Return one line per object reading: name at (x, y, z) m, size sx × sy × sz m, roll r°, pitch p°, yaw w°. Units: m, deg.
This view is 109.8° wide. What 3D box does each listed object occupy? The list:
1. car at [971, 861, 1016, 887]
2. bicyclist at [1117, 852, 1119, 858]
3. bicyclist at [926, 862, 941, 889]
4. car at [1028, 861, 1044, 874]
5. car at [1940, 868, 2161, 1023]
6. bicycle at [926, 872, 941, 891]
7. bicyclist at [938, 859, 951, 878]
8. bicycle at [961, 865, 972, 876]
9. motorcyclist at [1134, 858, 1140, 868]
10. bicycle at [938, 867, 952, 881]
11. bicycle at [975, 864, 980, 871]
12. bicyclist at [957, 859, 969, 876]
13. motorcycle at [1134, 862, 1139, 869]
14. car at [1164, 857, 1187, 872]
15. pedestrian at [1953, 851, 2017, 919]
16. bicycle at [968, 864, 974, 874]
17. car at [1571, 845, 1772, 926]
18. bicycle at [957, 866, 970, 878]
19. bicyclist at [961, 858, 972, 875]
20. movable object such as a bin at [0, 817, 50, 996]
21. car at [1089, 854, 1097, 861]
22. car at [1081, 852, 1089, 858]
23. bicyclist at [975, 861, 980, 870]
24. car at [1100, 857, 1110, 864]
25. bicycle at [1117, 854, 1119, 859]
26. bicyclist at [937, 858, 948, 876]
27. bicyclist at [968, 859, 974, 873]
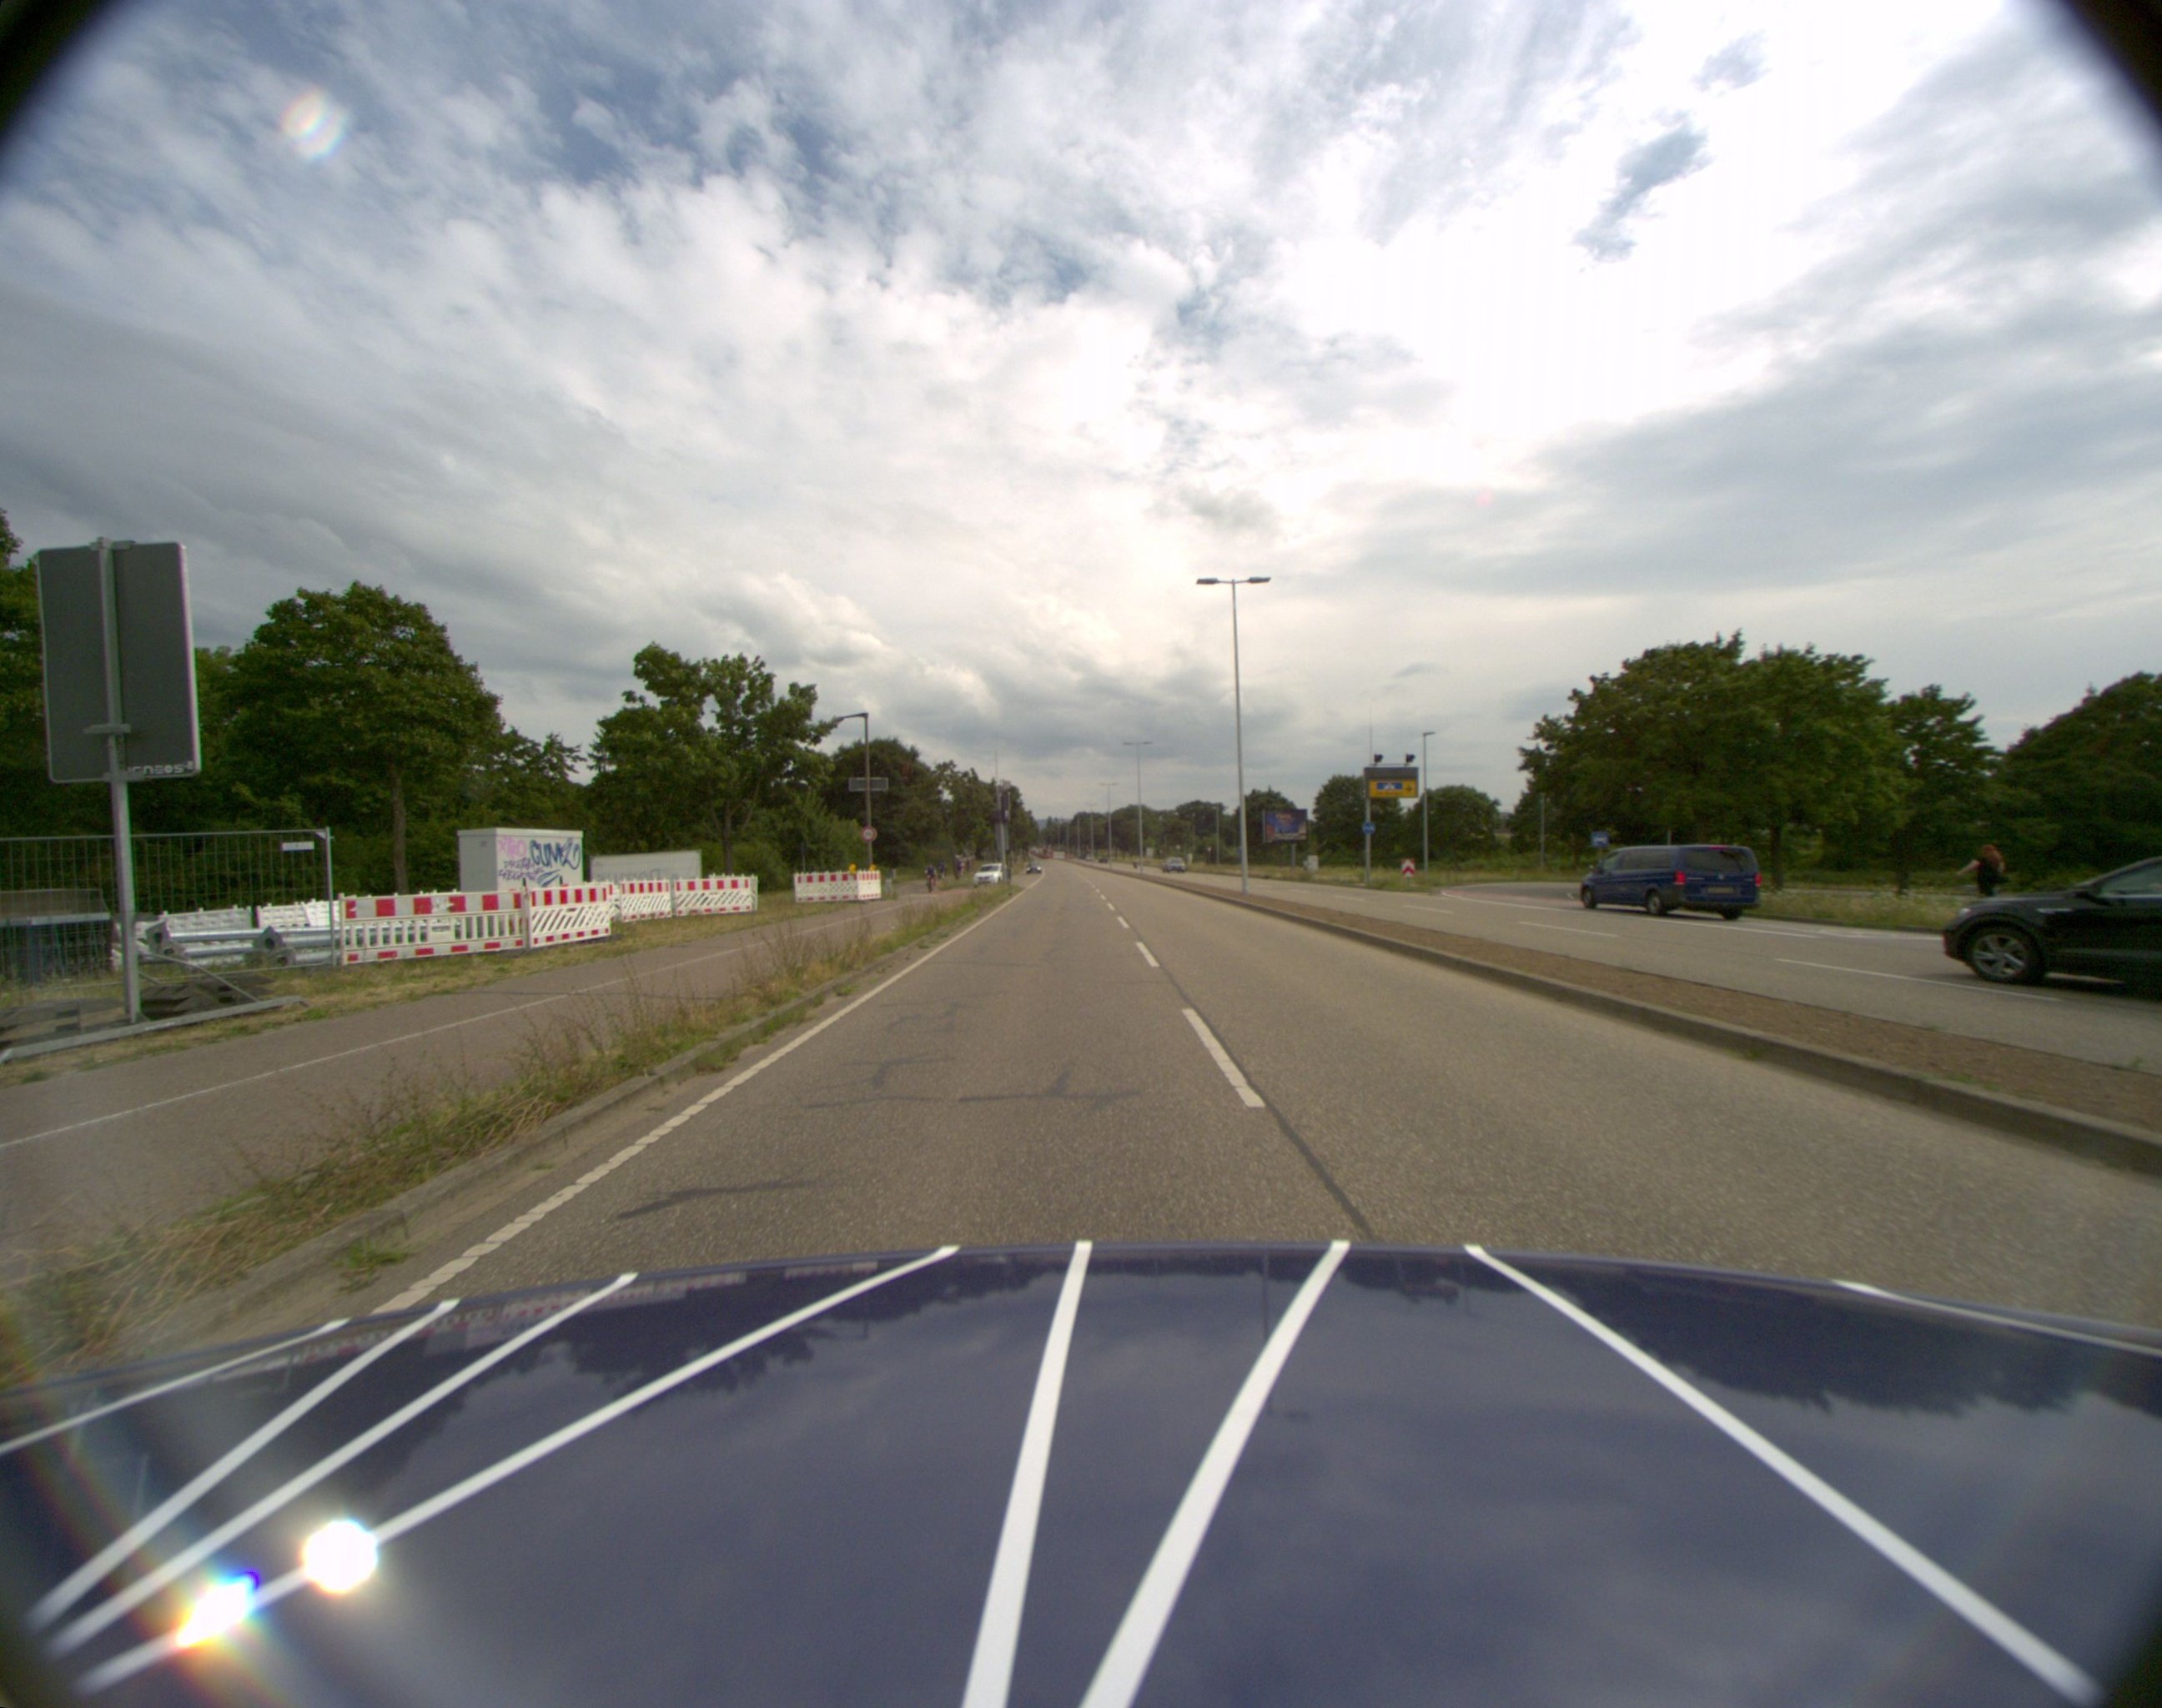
car at (-5.822, 1.297, 50.908) m, size 1.850 × 1.493 × 4.002 m, roll -4°, pitch 0°, yaw 9°
bicyclist at (10.449, 0.308, 214.815) m, size 0.645 × 1.821 × 0.819 m, roll 0°, pitch 1°, yaw -3°
bicyclist at (-9.240, 1.319, 47.623) m, size 0.653 × 1.648 × 0.876 m, roll -2°, pitch 1°, yaw 0°
car at (-5.503, 1.656, 92.254) m, size 1.773 × 1.439 × 4.322 m, roll -1°, pitch 0°, yaw -5°
car at (11.007, 0.868, 6.857) m, size 1.768 × 1.432 × 4.177 m, roll 0°, pitch 0°, yaw 0°
bicycle at (-9.232, 1.706, 47.581) m, size 0.575 × 1.141 × 1.982 m, roll 0°, pitch 0°, yaw 1°
bicyclist at (-11.489, 1.193, 63.970) m, size 0.742 × 1.509 × 0.958 m, roll -2°, pitch 1°, yaw 6°
bicycle at (-10.775, 1.568, 71.603) m, size 0.621 × 1.000 × 1.788 m, roll 1°, pitch 0°, yaw 6°
motorcyclist at (8.609, 1.376, 116.276) m, size 0.772 × 1.579 × 0.896 m, roll 0°, pitch 0°, yaw -2°
bicycle at (-11.457, 1.672, 64.016) m, size 0.621 × 1.000 × 2.103 m, roll 1°, pitch 2°, yaw 6°
bicycle at (-13.757, 1.796, 101.233) m, size 0.515 × 0.958 × 1.782 m, roll 0°, pitch 0°, yaw -3°
bicyclist at (-10.606, 1.212, 68.289) m, size 0.742 × 1.509 × 0.958 m, roll -2°, pitch 1°, yaw 5°
motorcycle at (8.513, 1.772, 116.205) m, size 0.524 × 0.961 × 2.219 m, roll -1°, pitch 0°, yaw -2°
car at (10.021, 1.115, 80.943) m, size 1.852 × 1.592 × 4.560 m, roll -1°, pitch 0°, yaw -1°
pedestrian at (22.918, 0.779, 19.274) m, size 0.866 × 1.683 × 0.680 m, roll 0°, pitch 0°, yaw 29°
bicycle at (-13.011, 1.806, 90.119) m, size 0.515 × 1.141 × 2.231 m, roll 0°, pitch 0°, yaw -3°
car at (15.759, 0.763, 20.763) m, size 1.850 × 1.882 × 5.509 m, roll 1°, pitch 0°, yaw 9°
bicycle at (-10.546, 1.602, 68.414) m, size 0.596 × 1.030 × 2.196 m, roll -1°, pitch -1°, yaw 5°
bicyclist at (-10.788, 1.171, 71.447) m, size 0.742 × 1.465 × 0.806 m, roll -2°, pitch 1°, yaw 6°
movable object such as a bin at (-18.457, 0.886, 10.934) m, size 4.511 × 2.674 × 2.102 m, roll -2°, pitch 1°, yaw 4°
car at (3.089, 0.872, 193.124) m, size 1.773 × 1.644 × 4.637 m, roll 1°, pitch 0°, yaw -3°
car at (1.154, 0.320, 219.485) m, size 1.852 × 1.644 × 4.563 m, roll 0°, pitch 0°, yaw -3°
bicyclist at (-13.771, 1.522, 101.193) m, size 0.540 × 1.275 × 0.449 m, roll -3°, pitch 1°, yaw -3°
car at (5.333, 1.530, 171.331) m, size 1.773 × 1.523 × 4.739 m, roll 0°, pitch 0°, yaw -3°
bicycle at (10.456, 0.636, 214.772) m, size 0.537 × 1.414 × 2.166 m, roll 0°, pitch 0°, yaw -3°
bicyclist at (-12.247, 1.136, 67.209) m, size 0.743 × 1.478 × 0.958 m, roll -2°, pitch 1°, yaw 1°
bicyclist at (-13.037, 1.386, 90.063) m, size 0.653 × 1.648 × 0.780 m, roll -3°, pitch 1°, yaw -3°
